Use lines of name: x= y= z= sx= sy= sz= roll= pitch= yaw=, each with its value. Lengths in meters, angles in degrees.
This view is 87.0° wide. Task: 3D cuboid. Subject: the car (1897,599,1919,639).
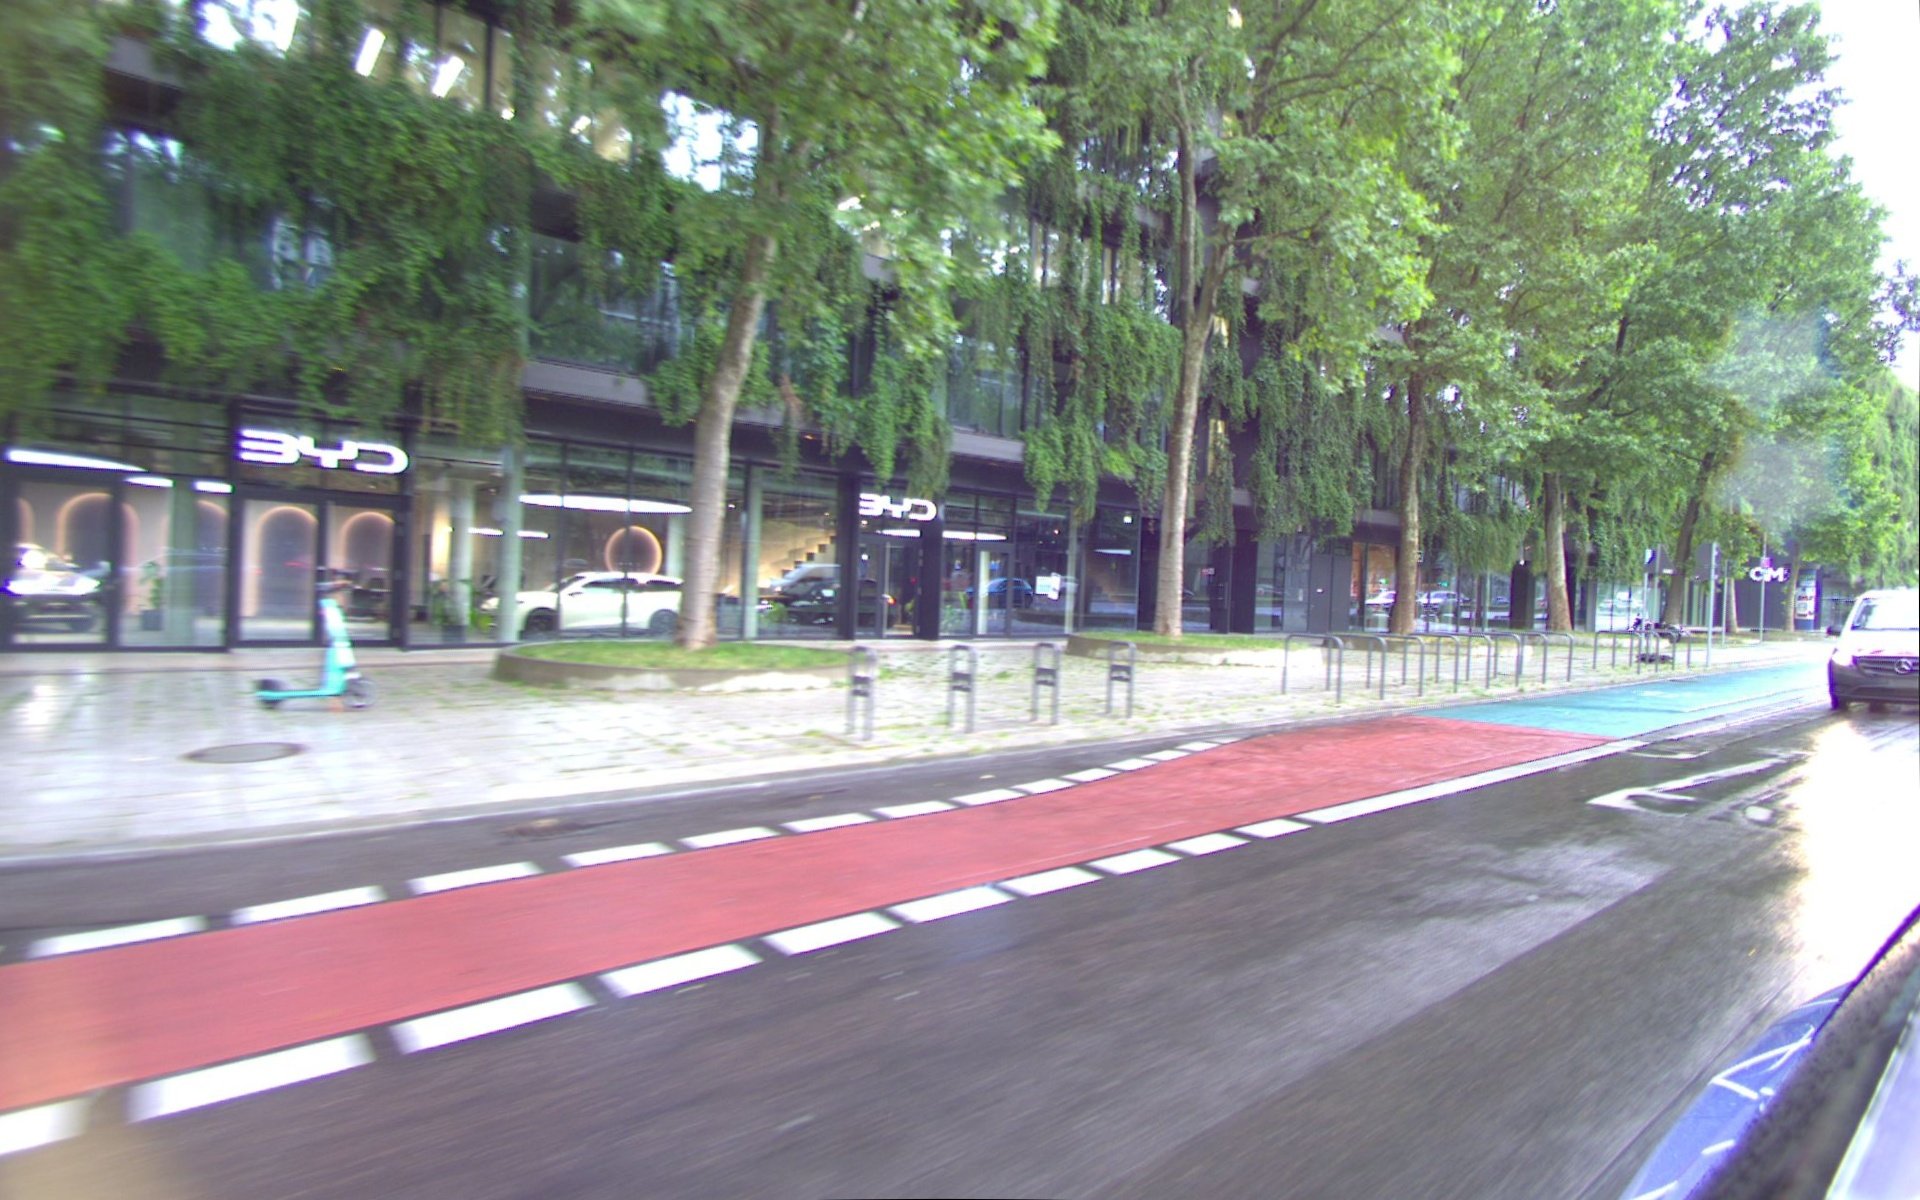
car: x=47.407 y=0.955 z=49.206 sx=5.000 sy=1.861 sz=1.849 roll=1 pitch=2 yaw=-38

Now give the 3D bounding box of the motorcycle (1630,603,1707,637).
motorcycle: x=27.984 y=0.788 z=40.012 sx=1.034 sy=1.286 sz=2.312 roll=1 pitch=-1 yaw=-40

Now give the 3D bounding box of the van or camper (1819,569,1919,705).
van or camper: x=15.612 y=0.565 z=16.100 sx=5.155 sy=1.937 sz=1.998 roll=1 pitch=0 yaw=-39

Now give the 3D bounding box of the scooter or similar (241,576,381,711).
scooter or similar: x=-6.188 y=0.403 z=9.667 sx=1.058 sy=1.243 sz=0.382 roll=1 pitch=0 yaw=-3
